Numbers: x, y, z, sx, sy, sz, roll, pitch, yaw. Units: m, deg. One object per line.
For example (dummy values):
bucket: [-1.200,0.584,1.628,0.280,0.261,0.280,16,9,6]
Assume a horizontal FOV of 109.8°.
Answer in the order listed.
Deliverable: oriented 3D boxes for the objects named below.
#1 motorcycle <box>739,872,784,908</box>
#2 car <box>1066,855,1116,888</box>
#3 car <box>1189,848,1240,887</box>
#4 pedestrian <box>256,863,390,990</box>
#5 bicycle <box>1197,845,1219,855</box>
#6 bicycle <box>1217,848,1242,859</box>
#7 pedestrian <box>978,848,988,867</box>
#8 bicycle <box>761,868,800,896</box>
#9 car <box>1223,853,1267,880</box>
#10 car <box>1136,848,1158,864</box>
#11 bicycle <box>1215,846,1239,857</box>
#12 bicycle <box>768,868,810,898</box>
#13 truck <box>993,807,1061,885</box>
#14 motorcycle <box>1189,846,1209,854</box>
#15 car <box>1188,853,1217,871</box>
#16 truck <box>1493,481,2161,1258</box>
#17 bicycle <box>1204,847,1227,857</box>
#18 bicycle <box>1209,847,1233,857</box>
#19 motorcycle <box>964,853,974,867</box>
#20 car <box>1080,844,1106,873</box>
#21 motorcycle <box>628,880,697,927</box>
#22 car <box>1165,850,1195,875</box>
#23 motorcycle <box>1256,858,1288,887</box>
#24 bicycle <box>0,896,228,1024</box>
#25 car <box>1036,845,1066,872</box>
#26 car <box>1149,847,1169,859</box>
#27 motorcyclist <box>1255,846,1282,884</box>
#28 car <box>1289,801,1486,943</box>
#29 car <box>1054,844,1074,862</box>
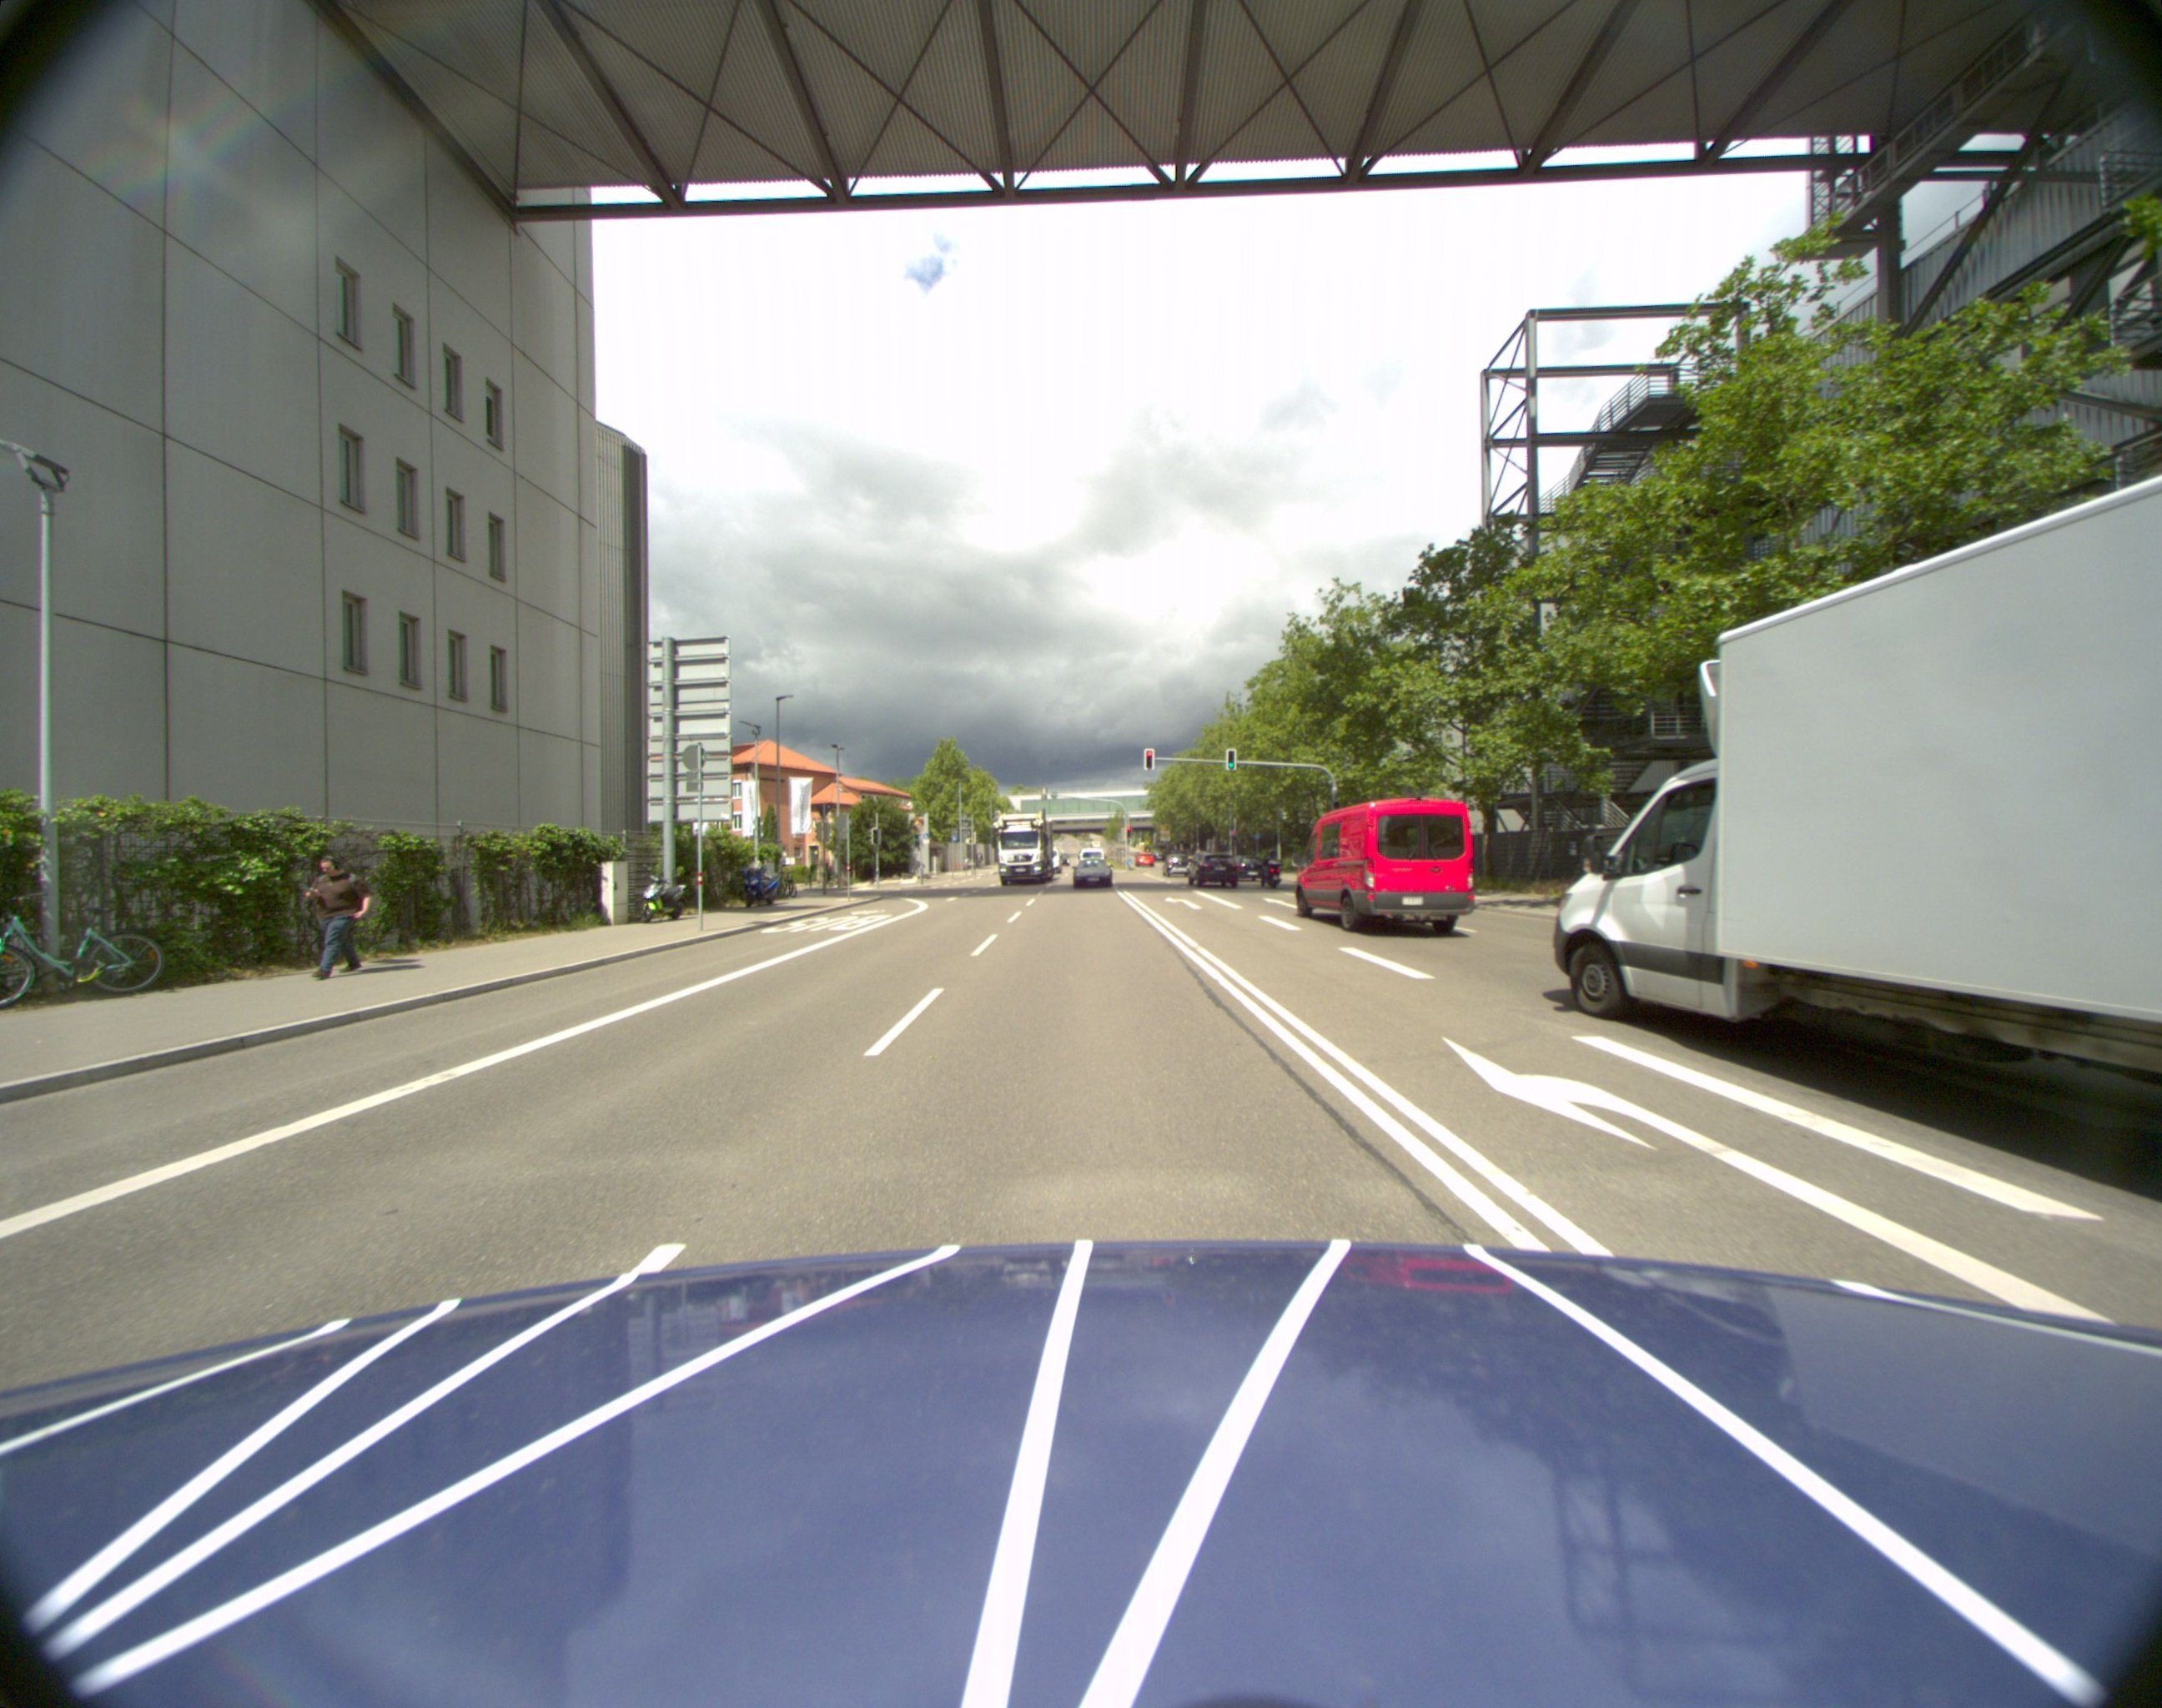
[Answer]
motorcycle: [-10.480,1.168,25.004,0.592,1.061,2.037,1,0,1]
car: [0.496,0.737,33.696,1.838,1.317,4.002,-3,-1,5]
car: [6.091,0.569,35.157,1.740,1.674,4.213,1,1,2]
pedestrian: [-10.309,0.954,10.382,0.811,1.635,0.997,0,1,-1]
bicycle: [15.603,-0.530,93.517,2.562,1.171,0.615,-2,1,1]
bicycle: [15.791,-0.084,80.783,2.561,1.079,0.616,-2,1,6]
pedestrian: [-9.438,0.298,72.970,0.729,1.756,1.015,-2,1,1]
bicycle: [-12.411,1.126,31.380,1.881,1.121,0.547,-1,0,36]
car: [9.089,0.660,42.376,1.580,1.420,3.919,1,1,0]
car: [6.589,0.190,76.418,1.889,1.446,3.902,1,1,0]
bicycle: [15.940,-0.259,82.939,2.561,1.079,0.616,-2,1,8]
bicycle: [-11.453,1.115,29.743,1.964,1.121,0.547,-1,-1,36]
truck: [-2.872,-0.476,43.881,2.713,3.863,10.740,-2,1,2]
motorcycle: [17.682,-0.557,113.967,2.830,1.029,0.600,-2,-2,4]
car: [9.839,0.657,61.843,1.697,1.421,3.822,0,0,0]
truck: [5.586,0.059,4.473,2.458,3.110,7.243,0,0,1]
bicycle: [15.856,-0.285,89.675,2.561,1.079,0.616,-2,1,7]
bicycle: [15.667,-0.218,85.042,2.564,1.079,0.615,-2,1,-8]
motorcycle: [-10.195,0.556,69.309,0.570,1.219,2.175,0,1,1]
car: [0.910,0.371,55.807,1.824,2.001,4.392,-1,-1,2]
motorcycle: [-10.533,1.224,19.225,0.592,1.061,2.037,0,1,1]
car: [6.347,0.515,48.984,1.561,1.496,3.613,1,1,1]
motorcycle: [8.432,0.795,33.621,0.676,1.213,2.375,-2,1,-3]
bicycle: [-11.258,1.146,8.549,0.444,1.173,2.468,-2,1,1]
car: [-2.306,0.309,59.757,1.871,1.944,4.711,-3,1,2]
car: [10.054,-0.156,98.594,1.999,1.446,4.767,1,1,-1]
motorcyclist: [8.296,0.483,33.641,0.735,1.613,1.094,-2,1,-10]
car: [6.153,0.305,16.153,2.068,2.492,5.480,0,0,1]
car: [-1.901,-0.140,86.753,1.871,1.944,4.711,-3,1,2]
